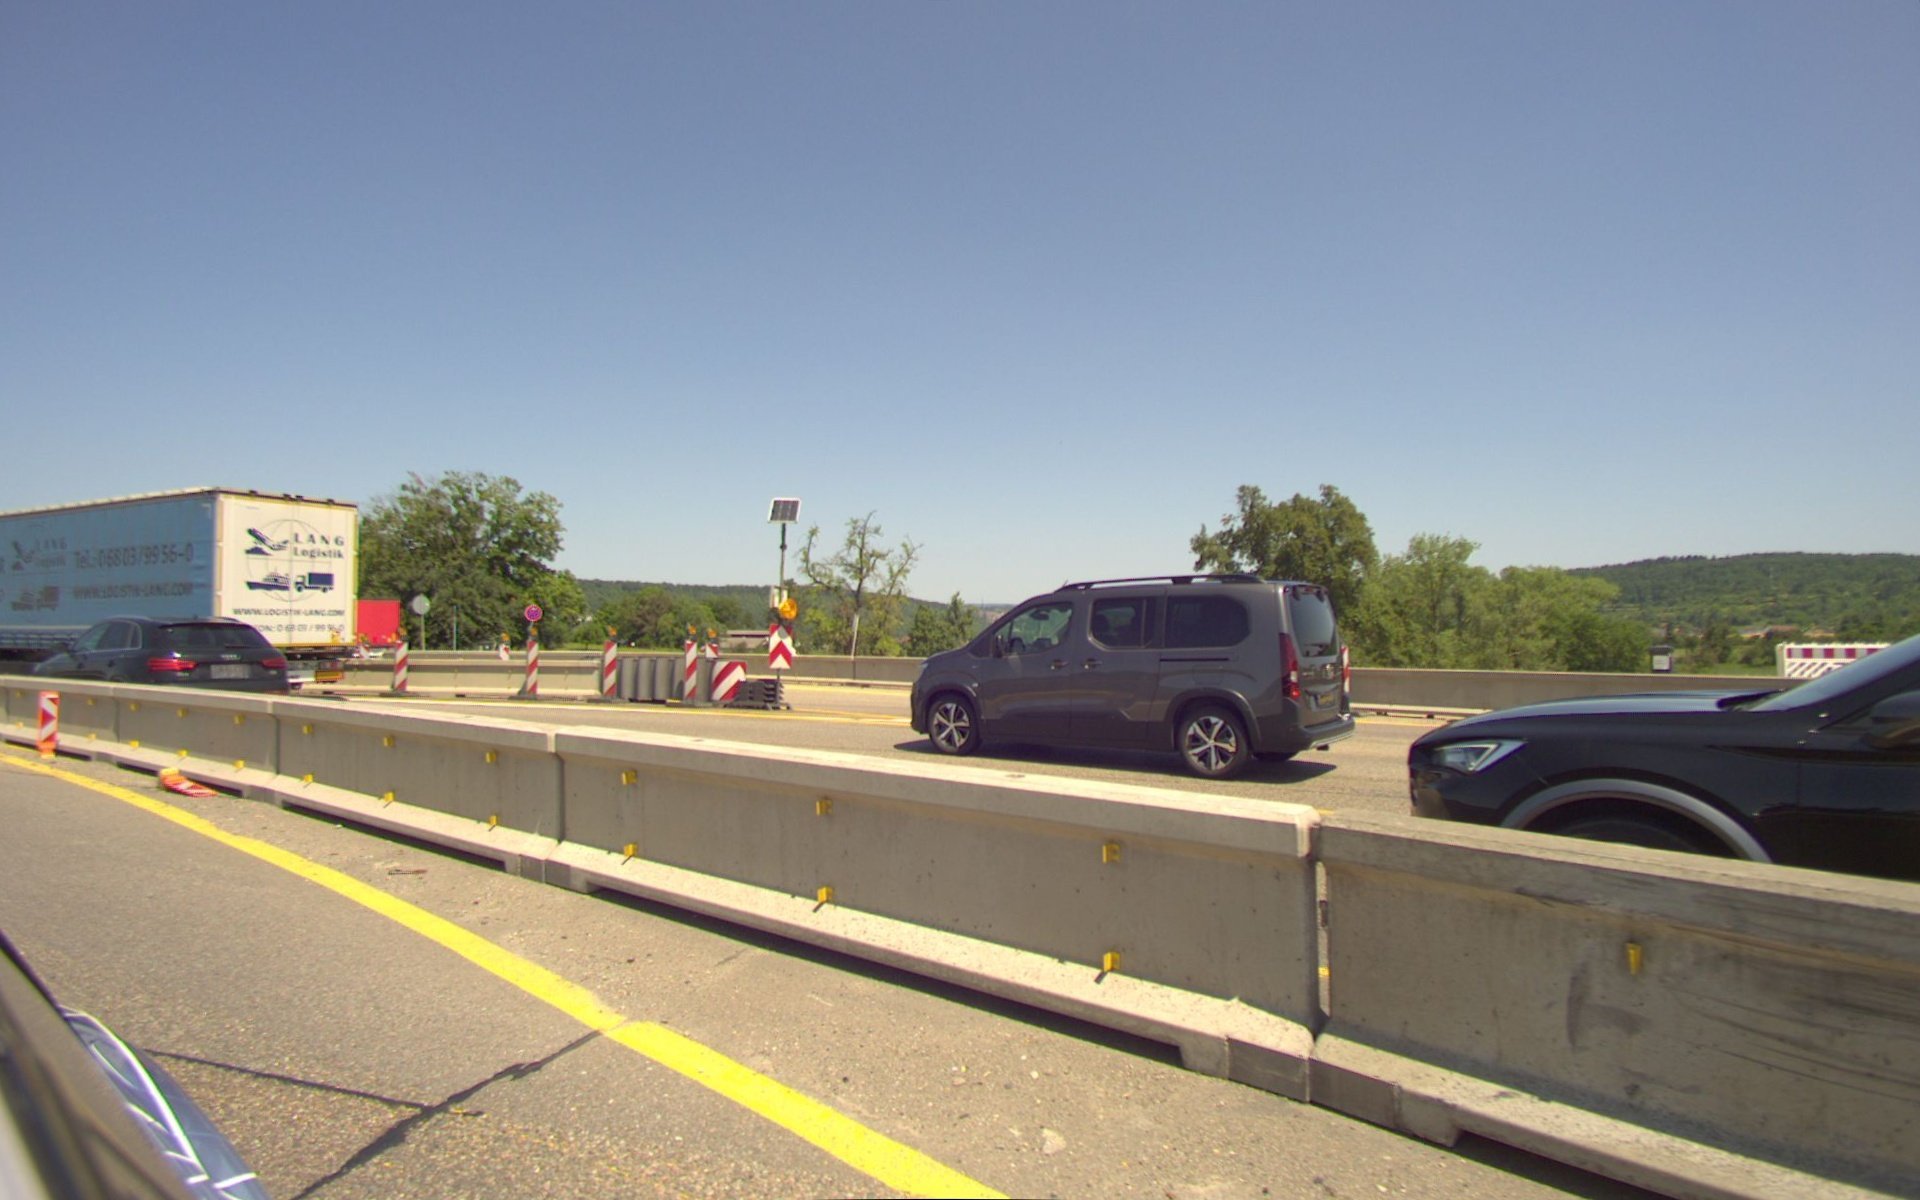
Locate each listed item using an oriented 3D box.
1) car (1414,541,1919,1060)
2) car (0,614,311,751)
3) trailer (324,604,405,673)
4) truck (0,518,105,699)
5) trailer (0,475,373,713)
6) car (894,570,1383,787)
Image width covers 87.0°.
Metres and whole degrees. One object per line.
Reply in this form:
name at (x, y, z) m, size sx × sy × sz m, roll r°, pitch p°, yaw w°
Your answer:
car at (3.954, 0.581, 3.002) m, size 4.468 × 1.493 × 1.672 m, roll -2°, pitch -3°, yaw 41°
car at (-11.163, 1.048, 13.877) m, size 4.688 × 1.620 × 1.757 m, roll -1°, pitch -3°, yaw 29°
trailer at (-40.141, 2.673, 67.900) m, size 3.109 × 4.143 × 14.194 m, roll 2°, pitch -3°, yaw -37°
truck at (-24.548, 0.295, 25.124) m, size 6.106 × 4.160 × 2.897 m, roll -2°, pitch -3°, yaw 27°
trailer at (-18.573, 0.149, 22.096) m, size 13.844 × 4.160 × 2.897 m, roll -2°, pitch -3°, yaw 27°
car at (1.667, 0.726, 10.449) m, size 4.702 × 1.778 × 1.758 m, roll -2°, pitch -3°, yaw 37°
